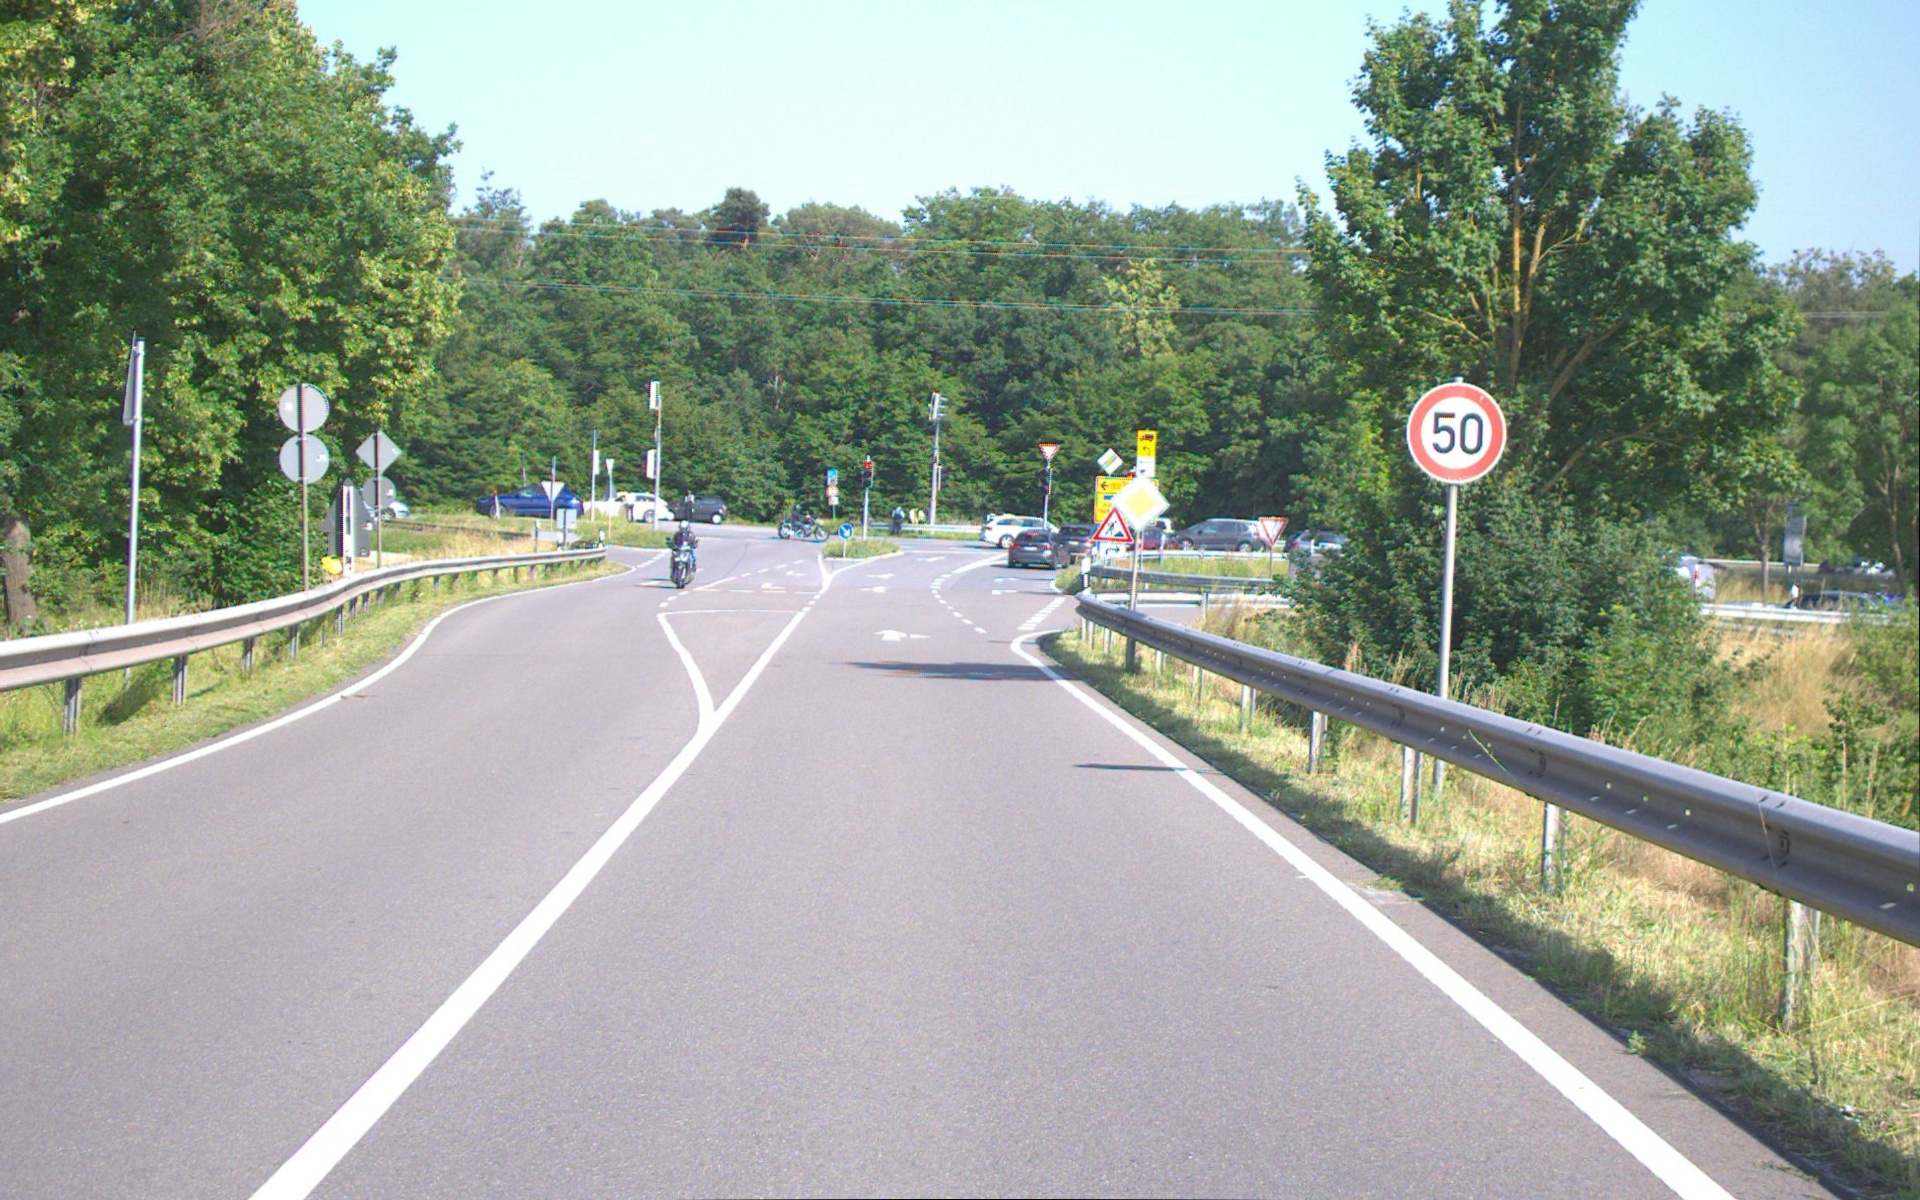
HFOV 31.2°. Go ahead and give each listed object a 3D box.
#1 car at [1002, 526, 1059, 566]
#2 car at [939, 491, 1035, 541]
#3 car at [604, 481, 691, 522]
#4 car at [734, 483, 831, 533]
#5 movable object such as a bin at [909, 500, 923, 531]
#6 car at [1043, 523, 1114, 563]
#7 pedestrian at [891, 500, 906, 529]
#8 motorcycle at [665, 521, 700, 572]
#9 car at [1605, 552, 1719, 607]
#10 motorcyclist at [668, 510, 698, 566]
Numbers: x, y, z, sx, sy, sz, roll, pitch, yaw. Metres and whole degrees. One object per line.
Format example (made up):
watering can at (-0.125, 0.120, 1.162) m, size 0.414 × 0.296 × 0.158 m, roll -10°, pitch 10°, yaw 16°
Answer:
car at (2.656, -2.021, 128.527) m, size 1.799 × 1.393 × 3.999 m, roll -2°, pitch 1°, yaw 5°
car at (1.168, -3.669, 150.263) m, size 3.986 × 2.006 × 1.801 m, roll 2°, pitch 2°, yaw -5°
car at (-15.768, -4.973, 173.339) m, size 3.986 × 2.007 × 1.796 m, roll 0°, pitch 1°, yaw -22°
car at (-7.775, -4.034, 150.303) m, size 3.986 × 2.006 × 1.801 m, roll 2°, pitch 2°, yaw -9°
movable object such as a bin at (-2.140, -4.116, 167.175) m, size 0.602 × 1.483 × 0.732 m, roll 1°, pitch 1°, yaw 7°
car at (4.716, -2.257, 136.083) m, size 1.801 × 1.495 × 3.997 m, roll 3°, pitch 2°, yaw 16°
pedestrian at (-2.979, -4.138, 166.466) m, size 0.524 × 1.386 × 0.513 m, roll 1°, pitch 1°, yaw 31°
motorcycle at (-7.005, -1.360, 86.857) m, size 0.717 × 1.246 × 2.078 m, roll 0°, pitch 1°, yaw 0°
car at (28.514, -0.832, 139.685) m, size 3.997 × 1.870 × 1.887 m, roll 6°, pitch 2°, yaw 39°
motorcyclist at (-6.994, -1.574, 86.892) m, size 0.699 × 1.403 × 0.784 m, roll 0°, pitch 1°, yaw 0°
